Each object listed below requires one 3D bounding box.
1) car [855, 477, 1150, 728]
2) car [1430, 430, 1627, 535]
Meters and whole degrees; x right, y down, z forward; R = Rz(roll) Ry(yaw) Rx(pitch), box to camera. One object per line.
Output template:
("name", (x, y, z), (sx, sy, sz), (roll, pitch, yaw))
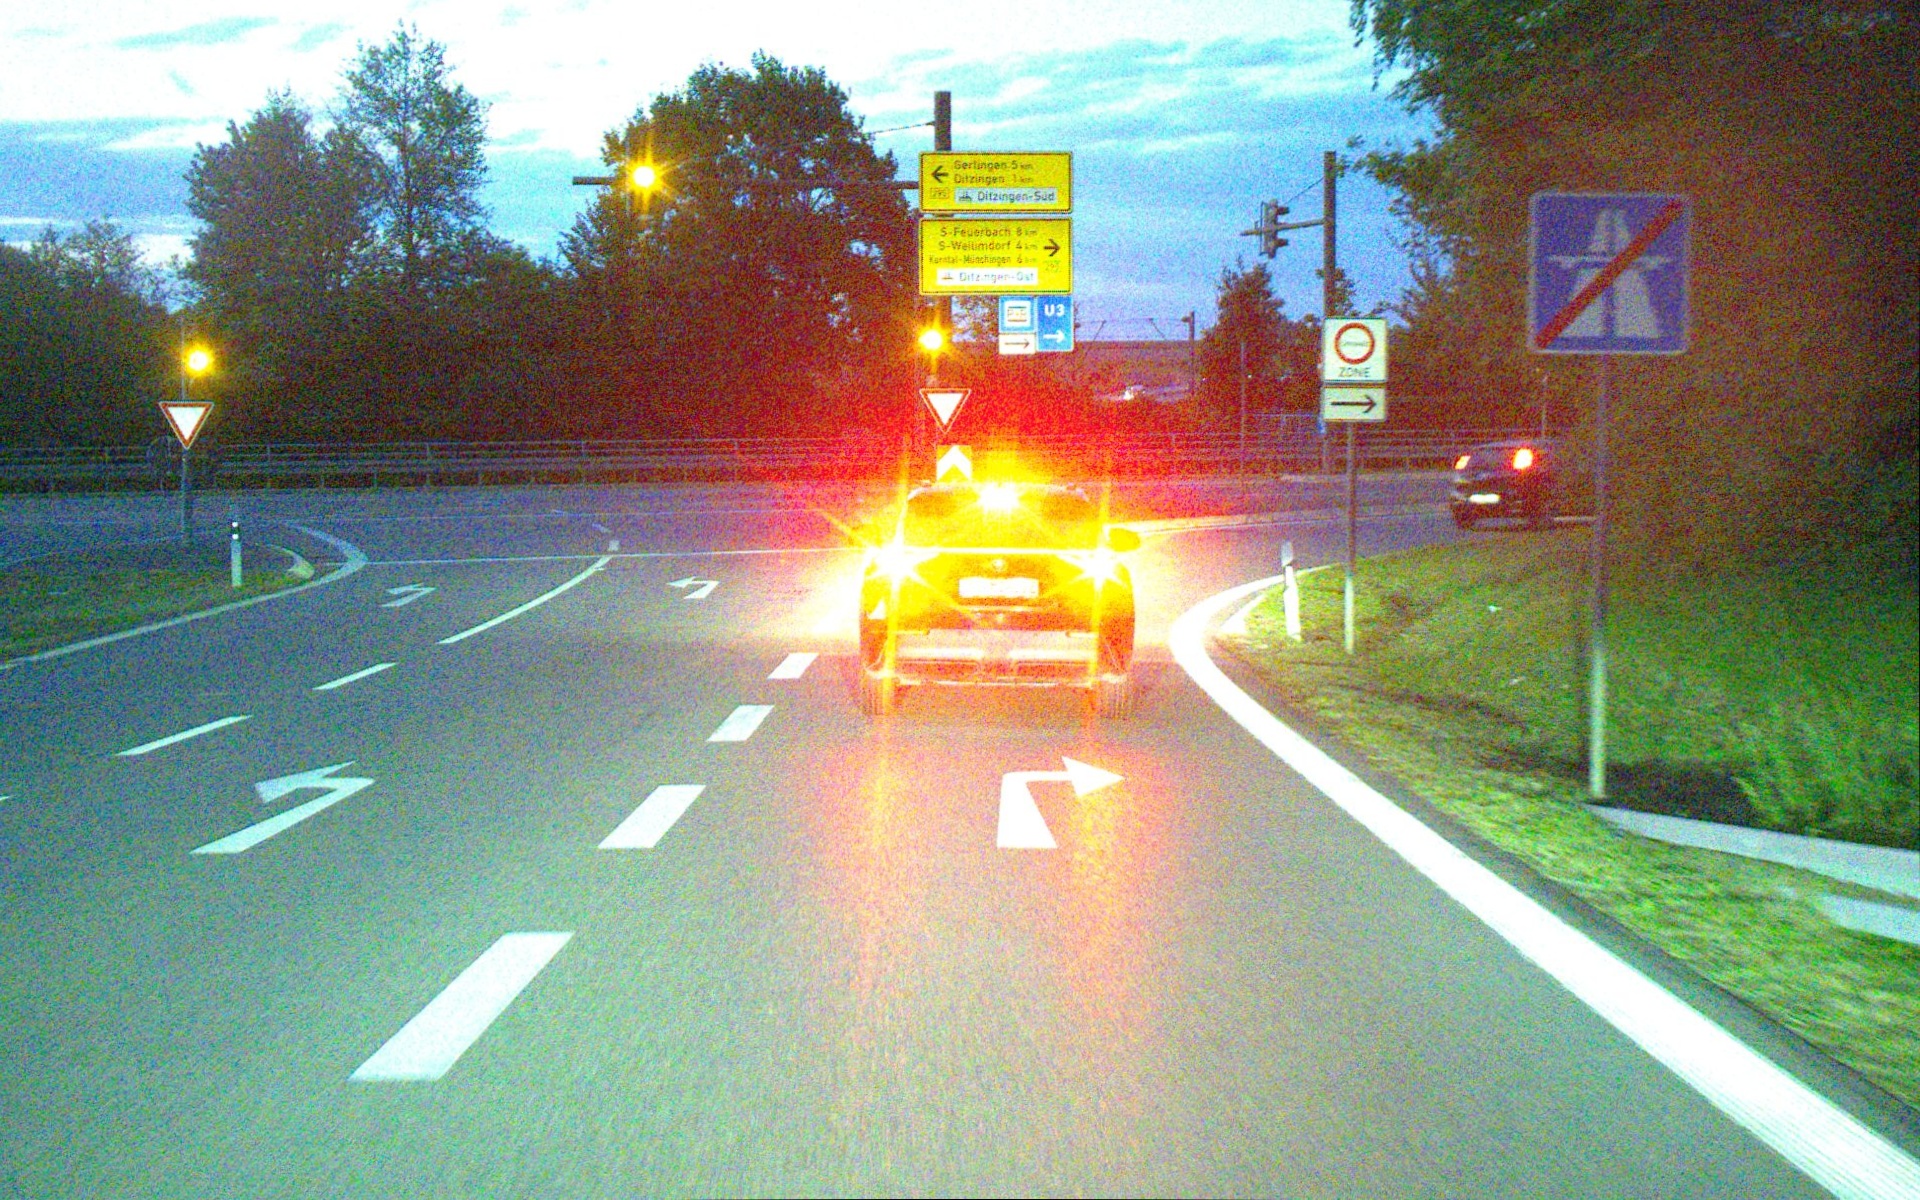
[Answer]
("car", (0.239, -0.017, 24.610), (1.901, 1.614, 4.556), (-1, 1, -1))
("car", (9.654, -1.957, 58.185), (1.784, 1.647, 3.992), (0, 0, 34))
